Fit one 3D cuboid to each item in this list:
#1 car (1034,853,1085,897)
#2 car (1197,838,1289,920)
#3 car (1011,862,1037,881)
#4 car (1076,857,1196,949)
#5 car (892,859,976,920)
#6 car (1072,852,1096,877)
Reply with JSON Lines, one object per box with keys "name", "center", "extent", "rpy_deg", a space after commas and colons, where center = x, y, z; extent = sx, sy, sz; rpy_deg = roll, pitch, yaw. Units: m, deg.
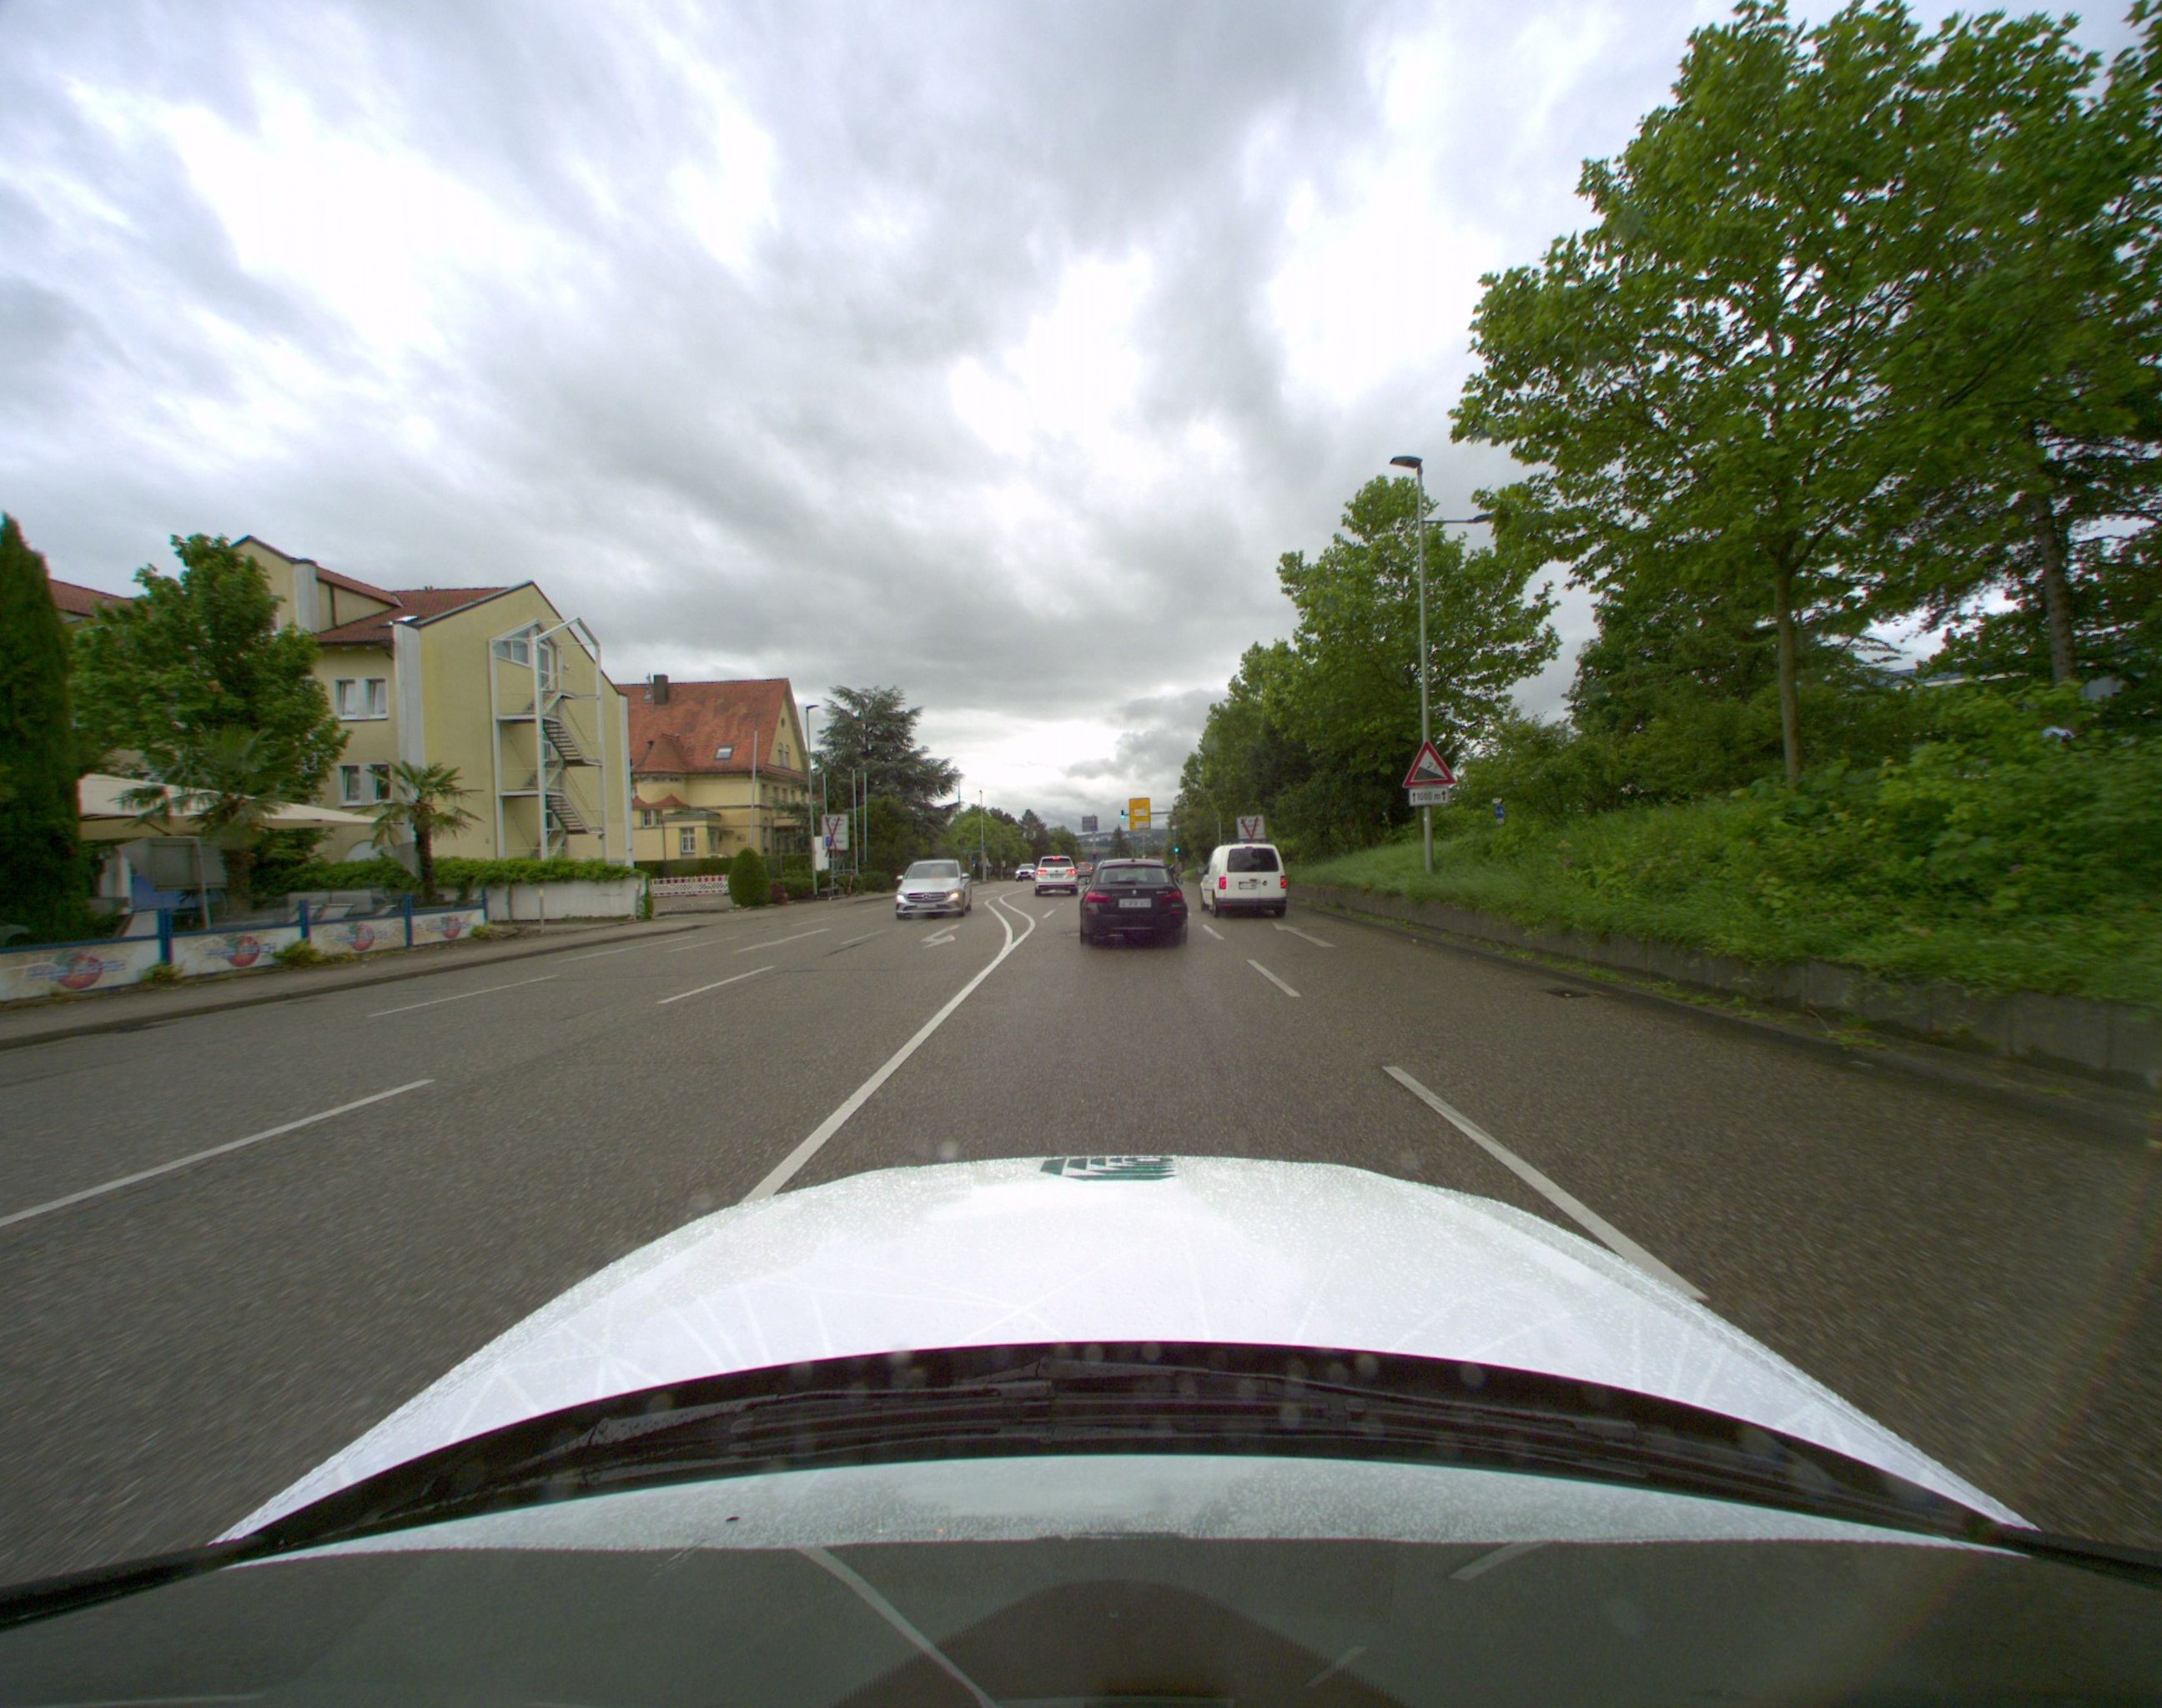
{"name": "car", "center": [-0.870, 0.838, 35.300], "extent": [1.861, 1.673, 4.004], "rpy_deg": [-1, 1, 3]}
{"name": "car", "center": [4.087, 0.549, 21.104], "extent": [1.758, 1.877, 3.808], "rpy_deg": [-1, 1, 2]}
{"name": "car", "center": [-5.884, 1.807, 84.719], "extent": [1.909, 1.763, 5.147], "rpy_deg": [-4, -1, 3]}
{"name": "car", "center": [0.984, 0.809, 14.973], "extent": [1.891, 1.441, 4.003], "rpy_deg": [-1, -1, 3]}
{"name": "car", "center": [-4.027, 0.927, 22.926], "extent": [1.746, 1.508, 4.296], "rpy_deg": [-2, -1, -3]}
{"name": "car", "center": [0.271, 0.915, 70.403], "extent": [1.803, 2.088, 3.853], "rpy_deg": [-1, 0, 3]}
